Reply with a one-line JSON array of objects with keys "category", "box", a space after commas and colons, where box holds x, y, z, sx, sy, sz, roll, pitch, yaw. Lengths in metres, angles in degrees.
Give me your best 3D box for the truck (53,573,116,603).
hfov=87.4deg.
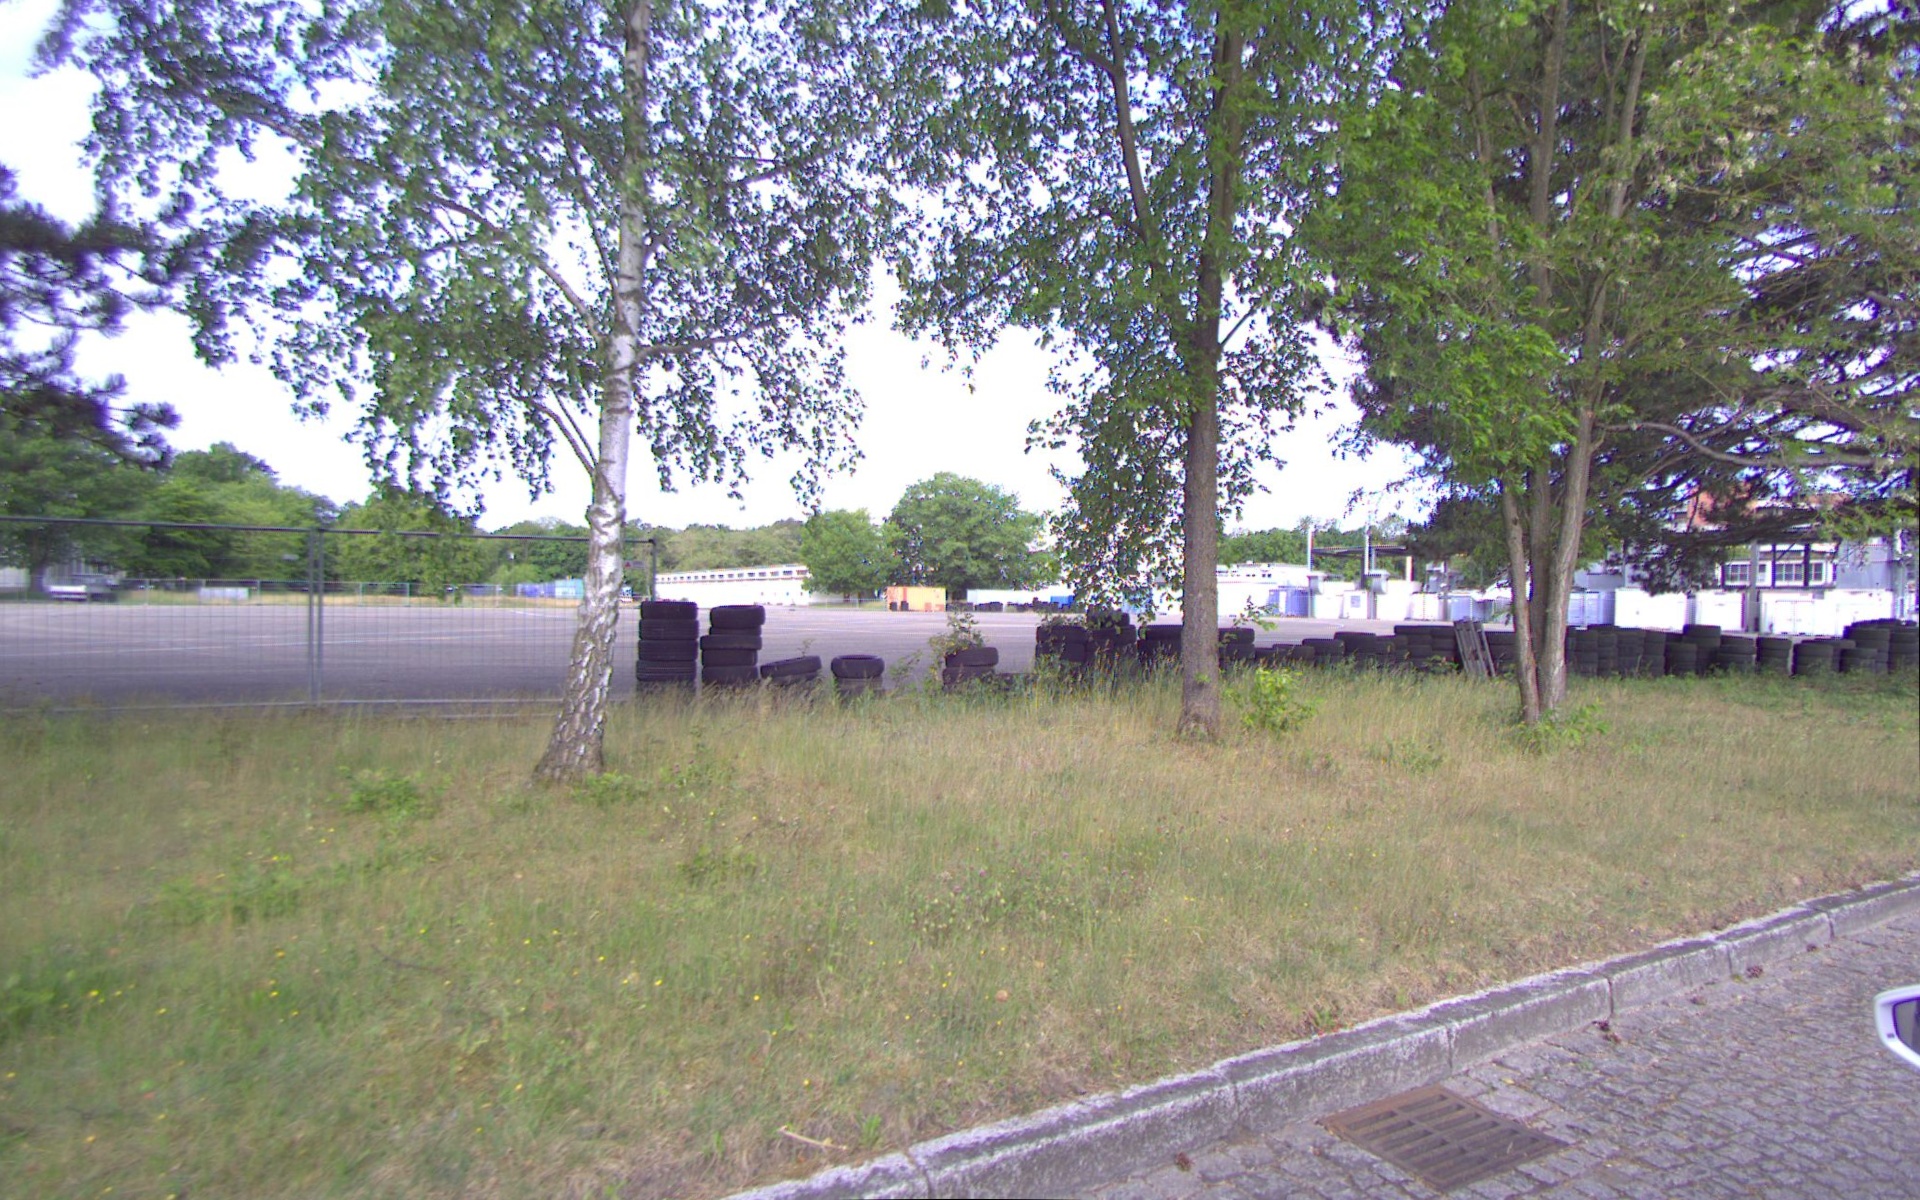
[{"category": "truck", "box": [-68.191, -0.911, 78.355, 2.346, 2.227, 6.504, 1, 0, -29]}]
